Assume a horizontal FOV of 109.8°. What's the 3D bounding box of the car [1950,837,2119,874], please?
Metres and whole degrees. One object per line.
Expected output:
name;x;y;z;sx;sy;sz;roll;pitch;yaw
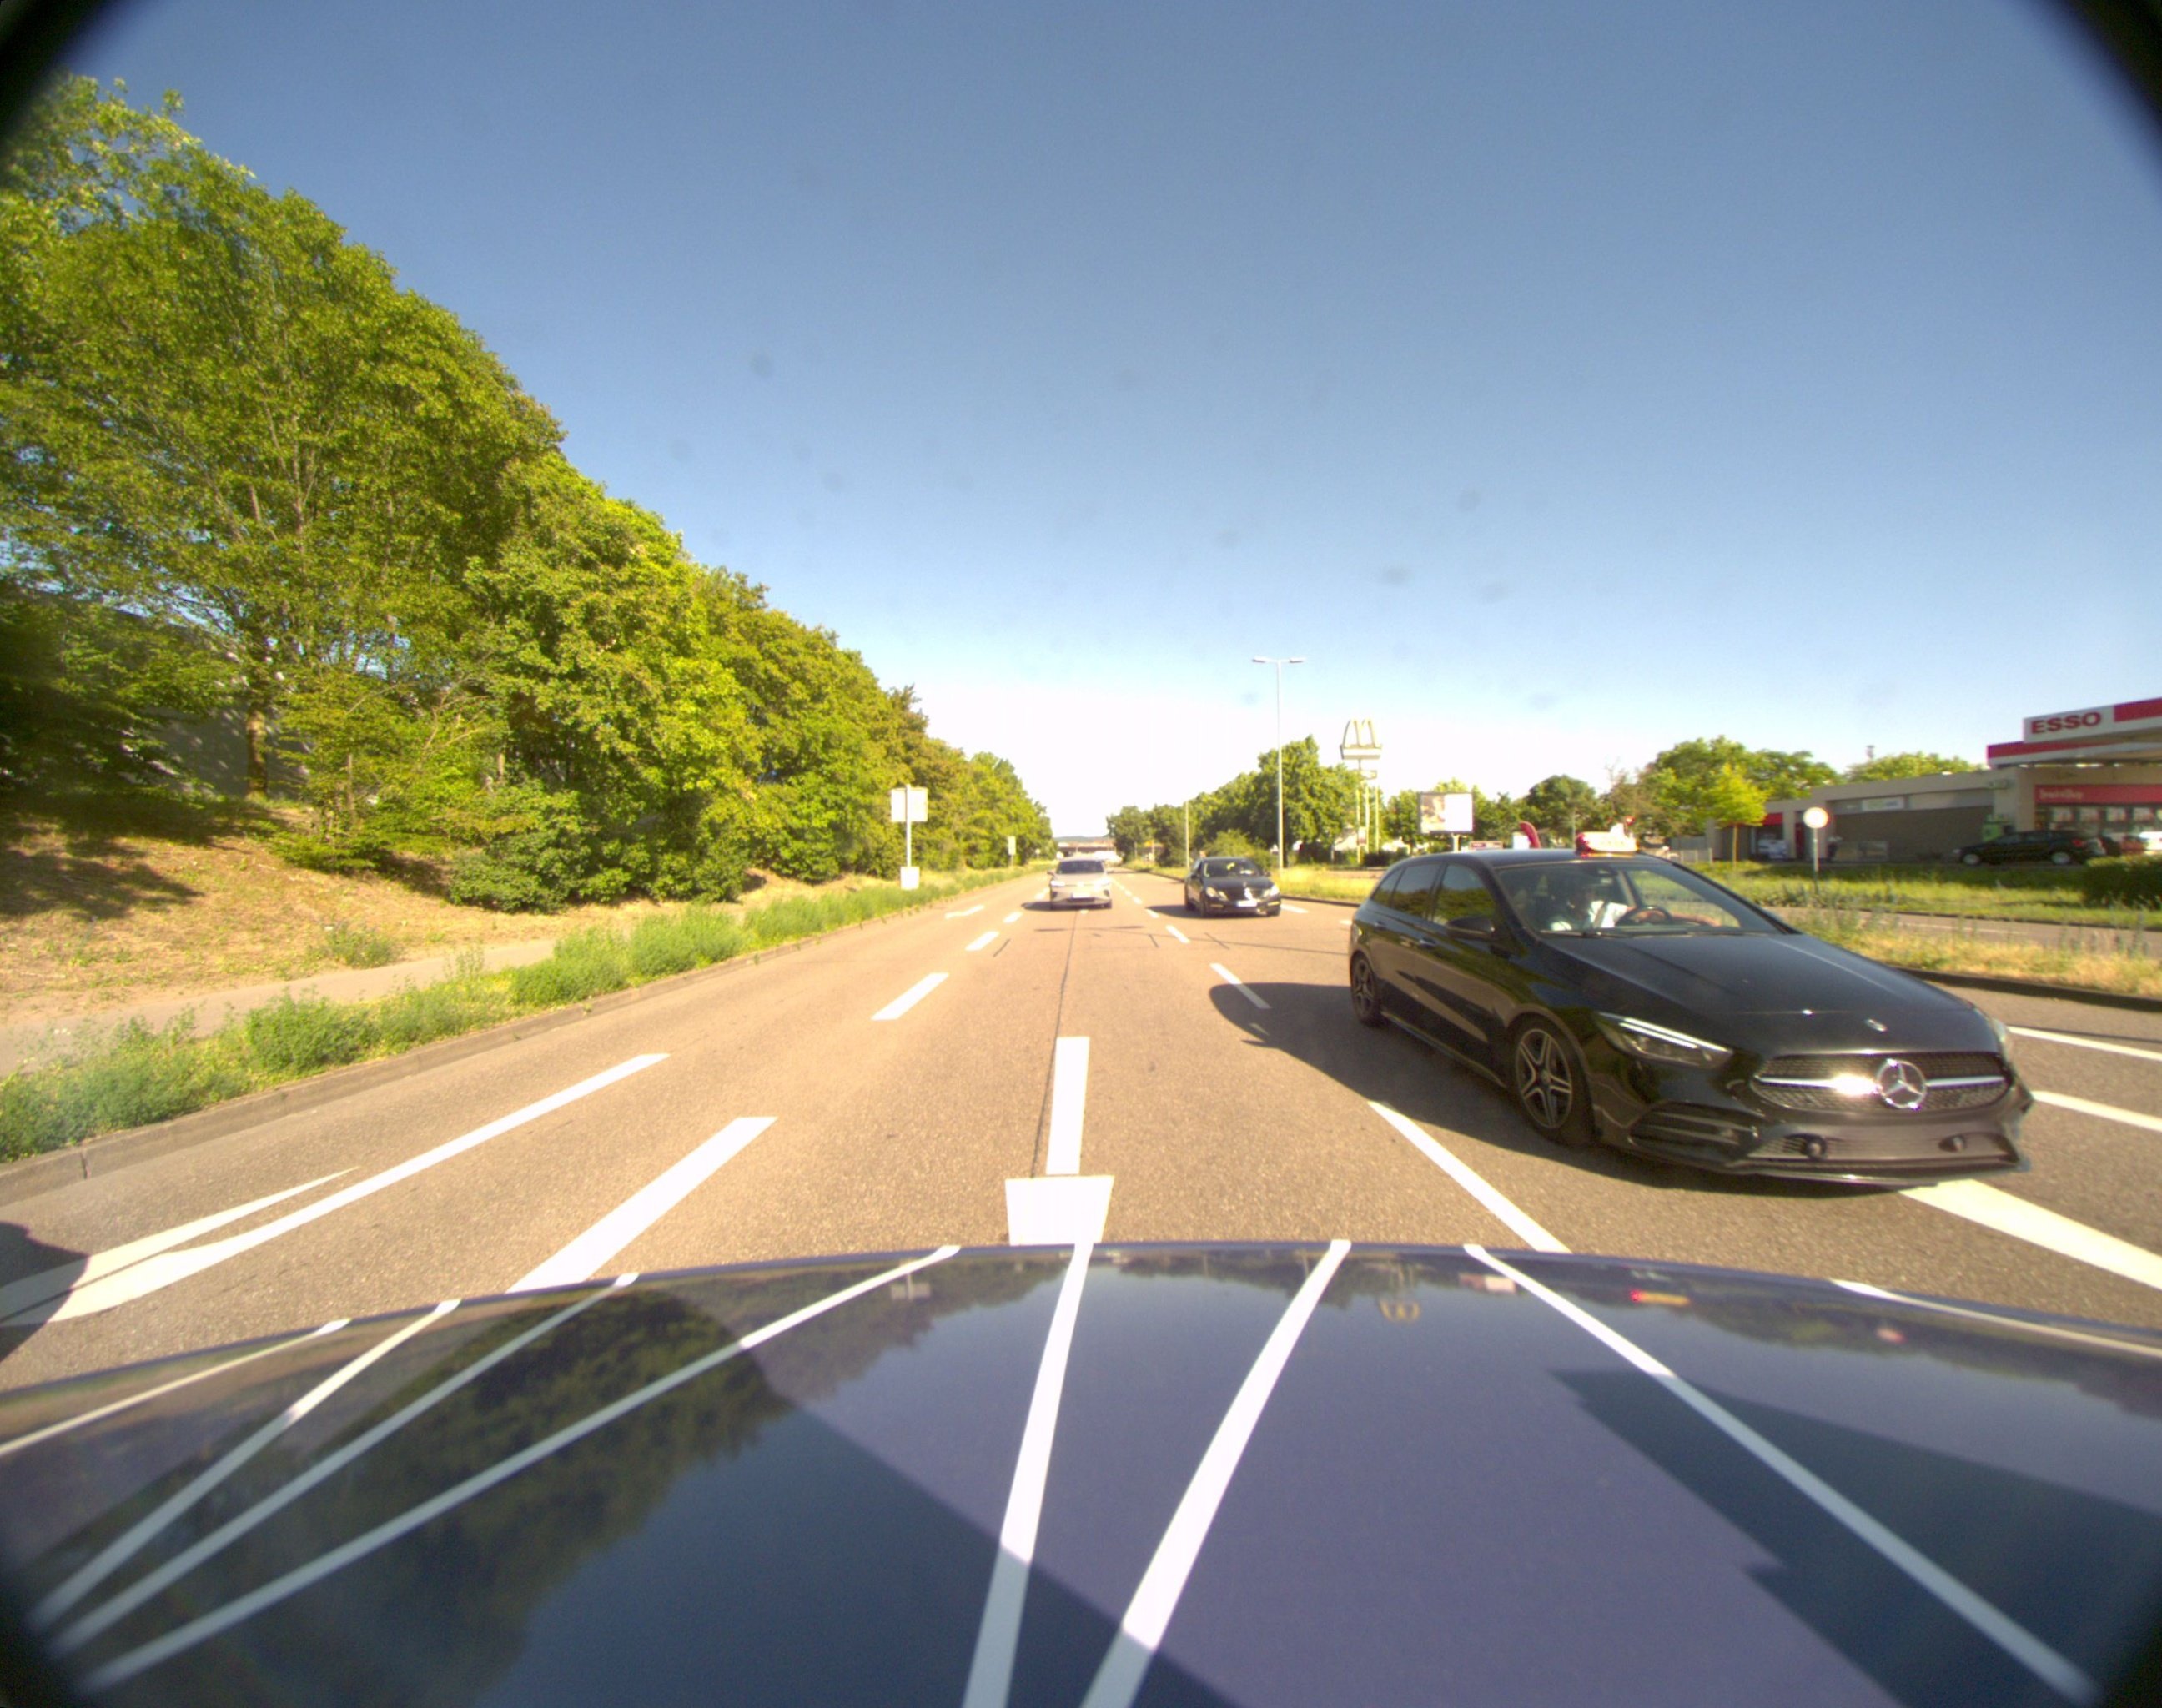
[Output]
car;39.299;0.039;31.493;1.998;1.397;4.000;-1;0;0

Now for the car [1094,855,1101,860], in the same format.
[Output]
car;5.024;0.922;229.502;1.998;1.433;4.000;-1;0;1

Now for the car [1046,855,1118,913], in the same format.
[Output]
car;0.060;0.889;24.116;2.025;1.601;4.098;-2;0;1

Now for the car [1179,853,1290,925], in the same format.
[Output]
car;3.768;0.798;19.472;1.953;1.501;4.462;-2;1;1

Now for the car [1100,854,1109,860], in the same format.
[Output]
car;5.788;0.777;186.960;1.998;1.433;4.000;-1;0;1

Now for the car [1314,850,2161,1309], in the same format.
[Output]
car;3.157;0.804;5.004;1.788;1.592;4.583;-2;0;0
